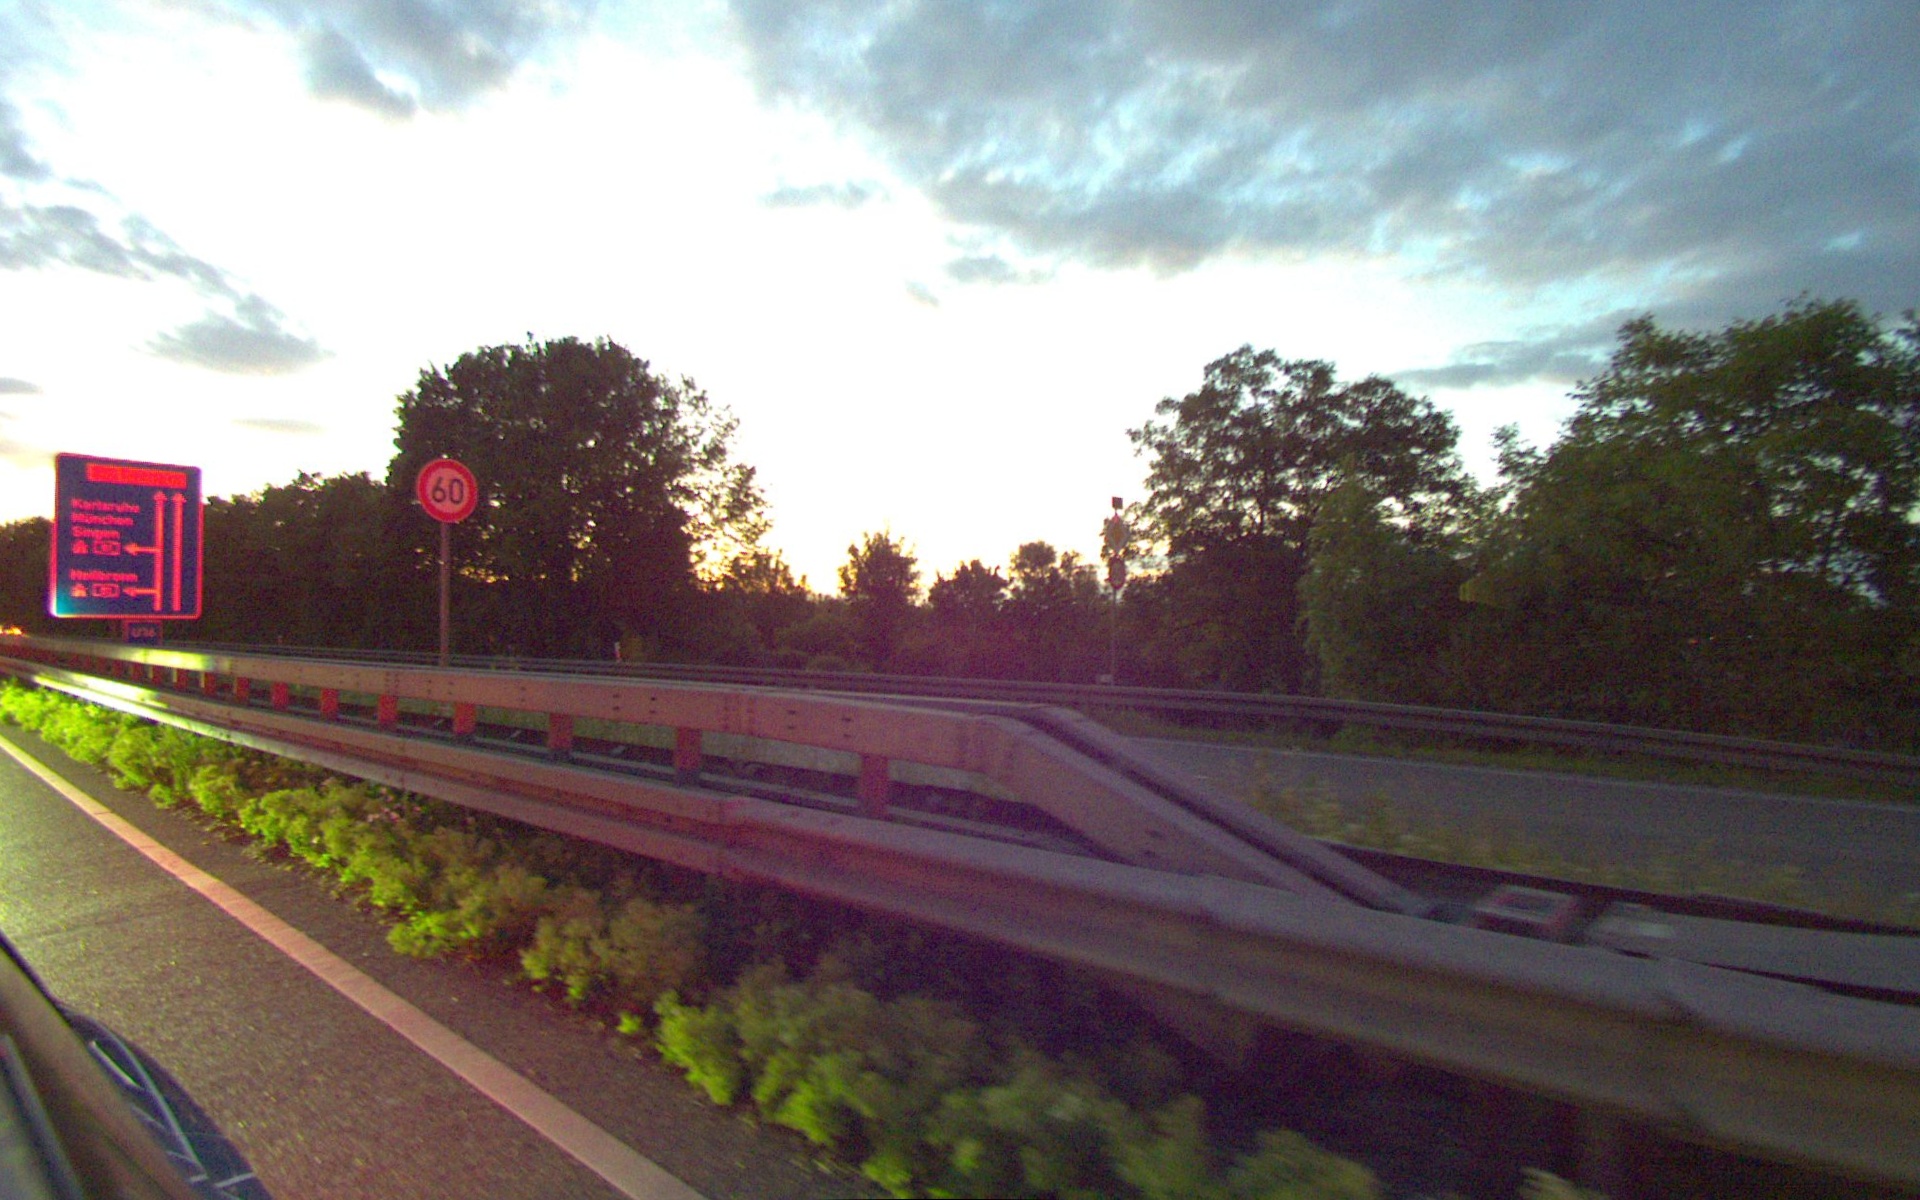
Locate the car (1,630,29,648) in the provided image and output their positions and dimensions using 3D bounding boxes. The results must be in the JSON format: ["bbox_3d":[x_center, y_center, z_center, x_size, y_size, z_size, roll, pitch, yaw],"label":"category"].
[{"bbox_3d":[-93.692,3.874,100.373,1.772,1.684,4.509,1,-2,-40],"label":"car"}]
